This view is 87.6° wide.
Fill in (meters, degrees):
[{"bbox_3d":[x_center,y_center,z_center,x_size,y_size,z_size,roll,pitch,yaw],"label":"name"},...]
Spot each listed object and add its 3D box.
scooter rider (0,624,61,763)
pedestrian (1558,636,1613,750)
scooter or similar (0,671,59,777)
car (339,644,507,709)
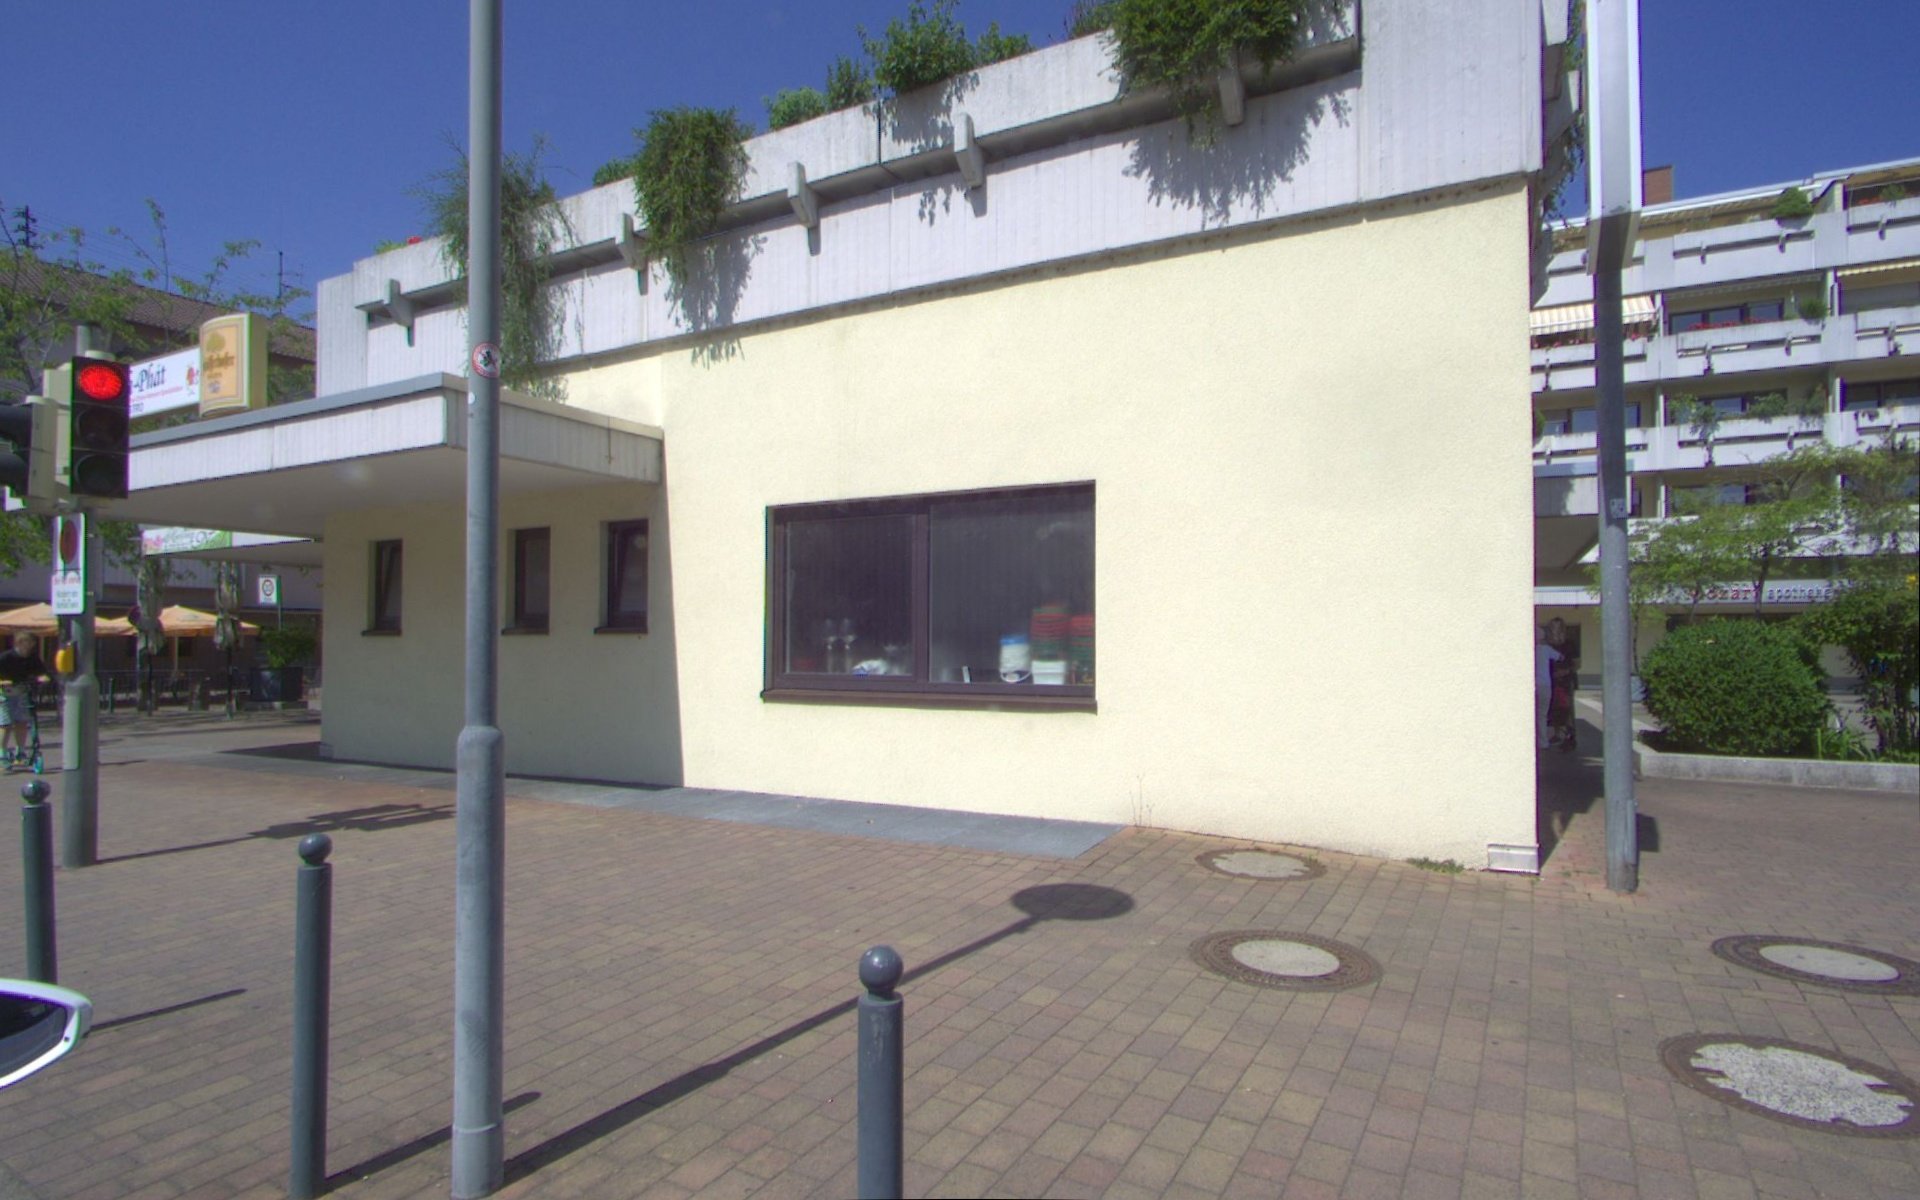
[{"bbox_3d":[-9.631,0.919,10.167,1.117,1.341,0.460,-1,-1,33],"label":"scooter rider"},{"bbox_3d":[8.454,1.235,13.550,0.596,1.482,0.791,-1,-2,32],"label":"pedestrian"},{"bbox_3d":[-9.462,1.220,10.042,0.947,0.977,0.410,-1,-2,34],"label":"scooter or similar"},{"bbox_3d":[-13.435,1.887,25.047,3.909,1.528,1.767,-2,-3,26],"label":"car"}]
